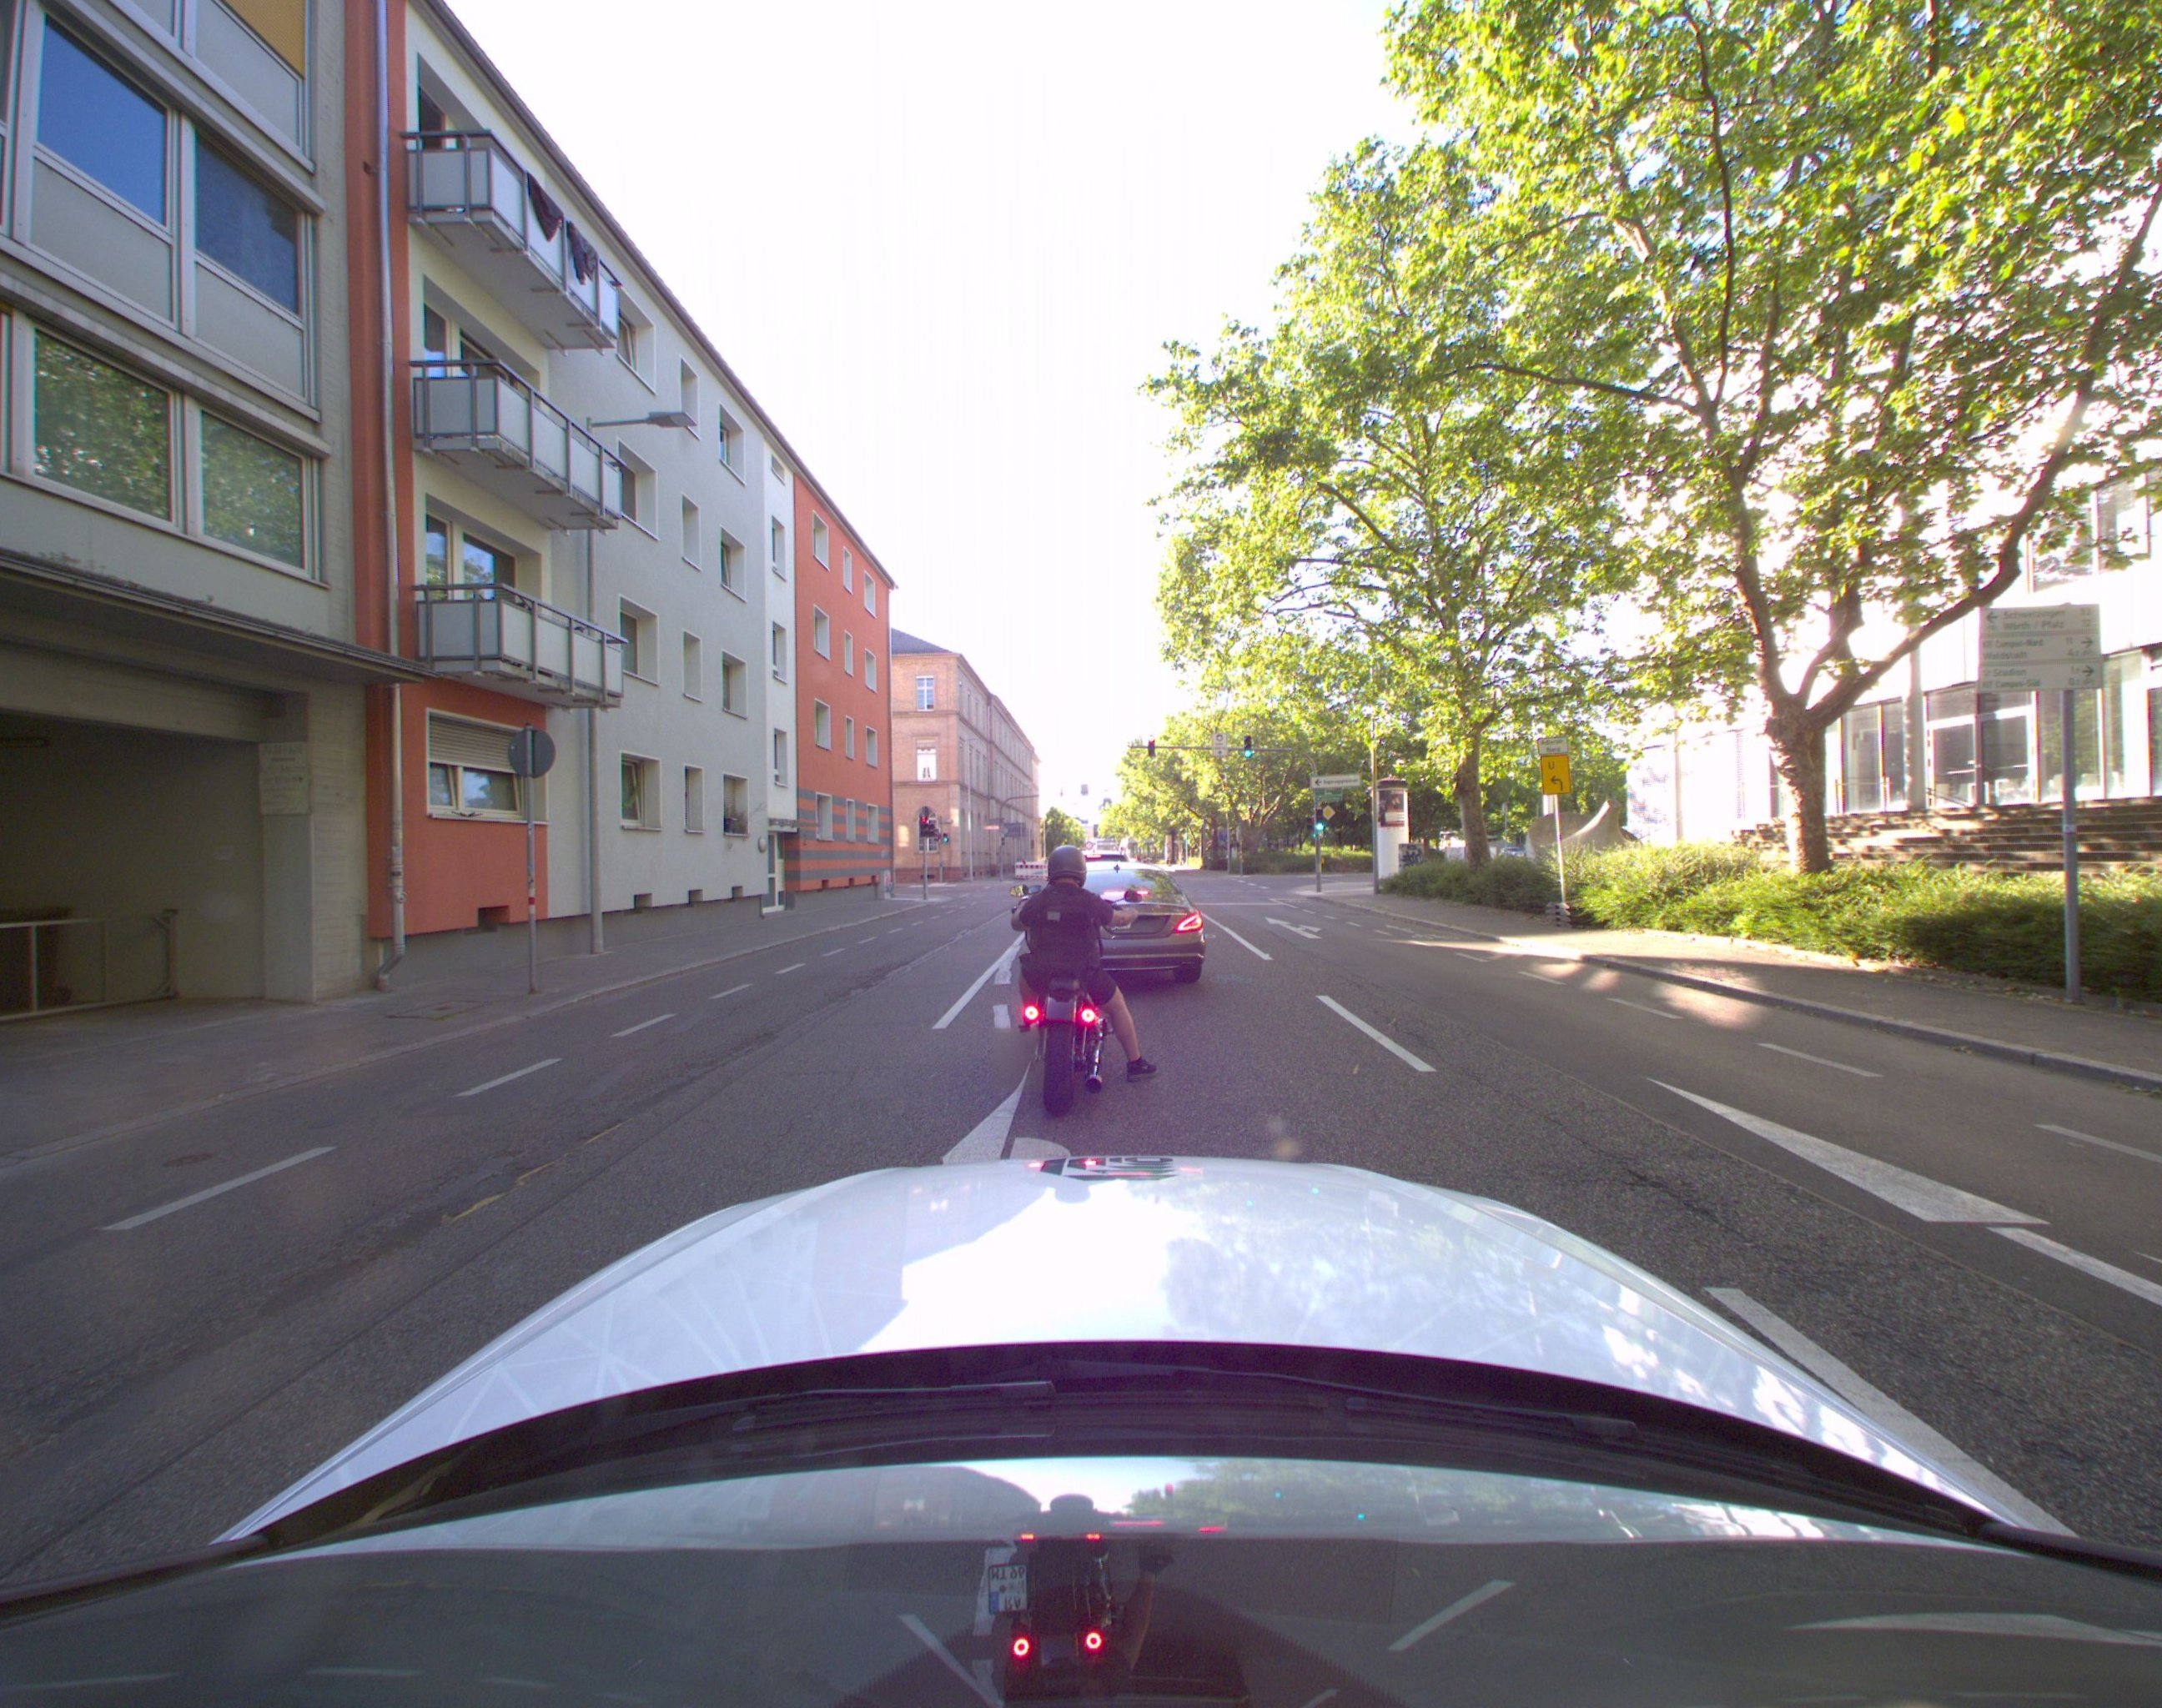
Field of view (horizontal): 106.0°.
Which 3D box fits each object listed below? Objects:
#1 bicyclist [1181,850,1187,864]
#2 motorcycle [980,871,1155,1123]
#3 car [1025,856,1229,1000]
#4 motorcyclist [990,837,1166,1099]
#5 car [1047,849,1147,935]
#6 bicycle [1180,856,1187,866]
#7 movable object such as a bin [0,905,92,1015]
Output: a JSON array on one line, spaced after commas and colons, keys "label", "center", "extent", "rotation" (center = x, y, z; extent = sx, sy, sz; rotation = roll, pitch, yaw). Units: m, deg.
[{"label": "bicyclist", "center": [11.480, 0.325, 90.895], "extent": [0.712, 1.582, 0.937], "rotation": [0, -1, 6]}, {"label": "motorcycle", "center": [-0.040, 0.818, 5.671], "extent": [0.958, 1.357, 2.321], "rotation": [0, -1, 2]}, {"label": "car", "center": [0.348, 0.767, 10.636], "extent": [1.901, 1.441, 4.277], "rotation": [-1, 0, -7]}, {"label": "motorcyclist", "center": [-0.005, 0.693, 5.401], "extent": [1.057, 1.582, 0.908], "rotation": [0, -1, 1]}, {"label": "car", "center": [0.270, 0.700, 16.906], "extent": [1.808, 1.536, 3.847], "rotation": [-1, 0, -1]}, {"label": "bicycle", "center": [11.481, 0.773, 90.904], "extent": [0.712, 1.172, 2.179], "rotation": [0, -1, 6]}, {"label": "movable object such as a bin", "center": [-11.323, 1.107, 8.659], "extent": [0.736, 1.074, 0.716], "rotation": [0, -1, 2]}]
